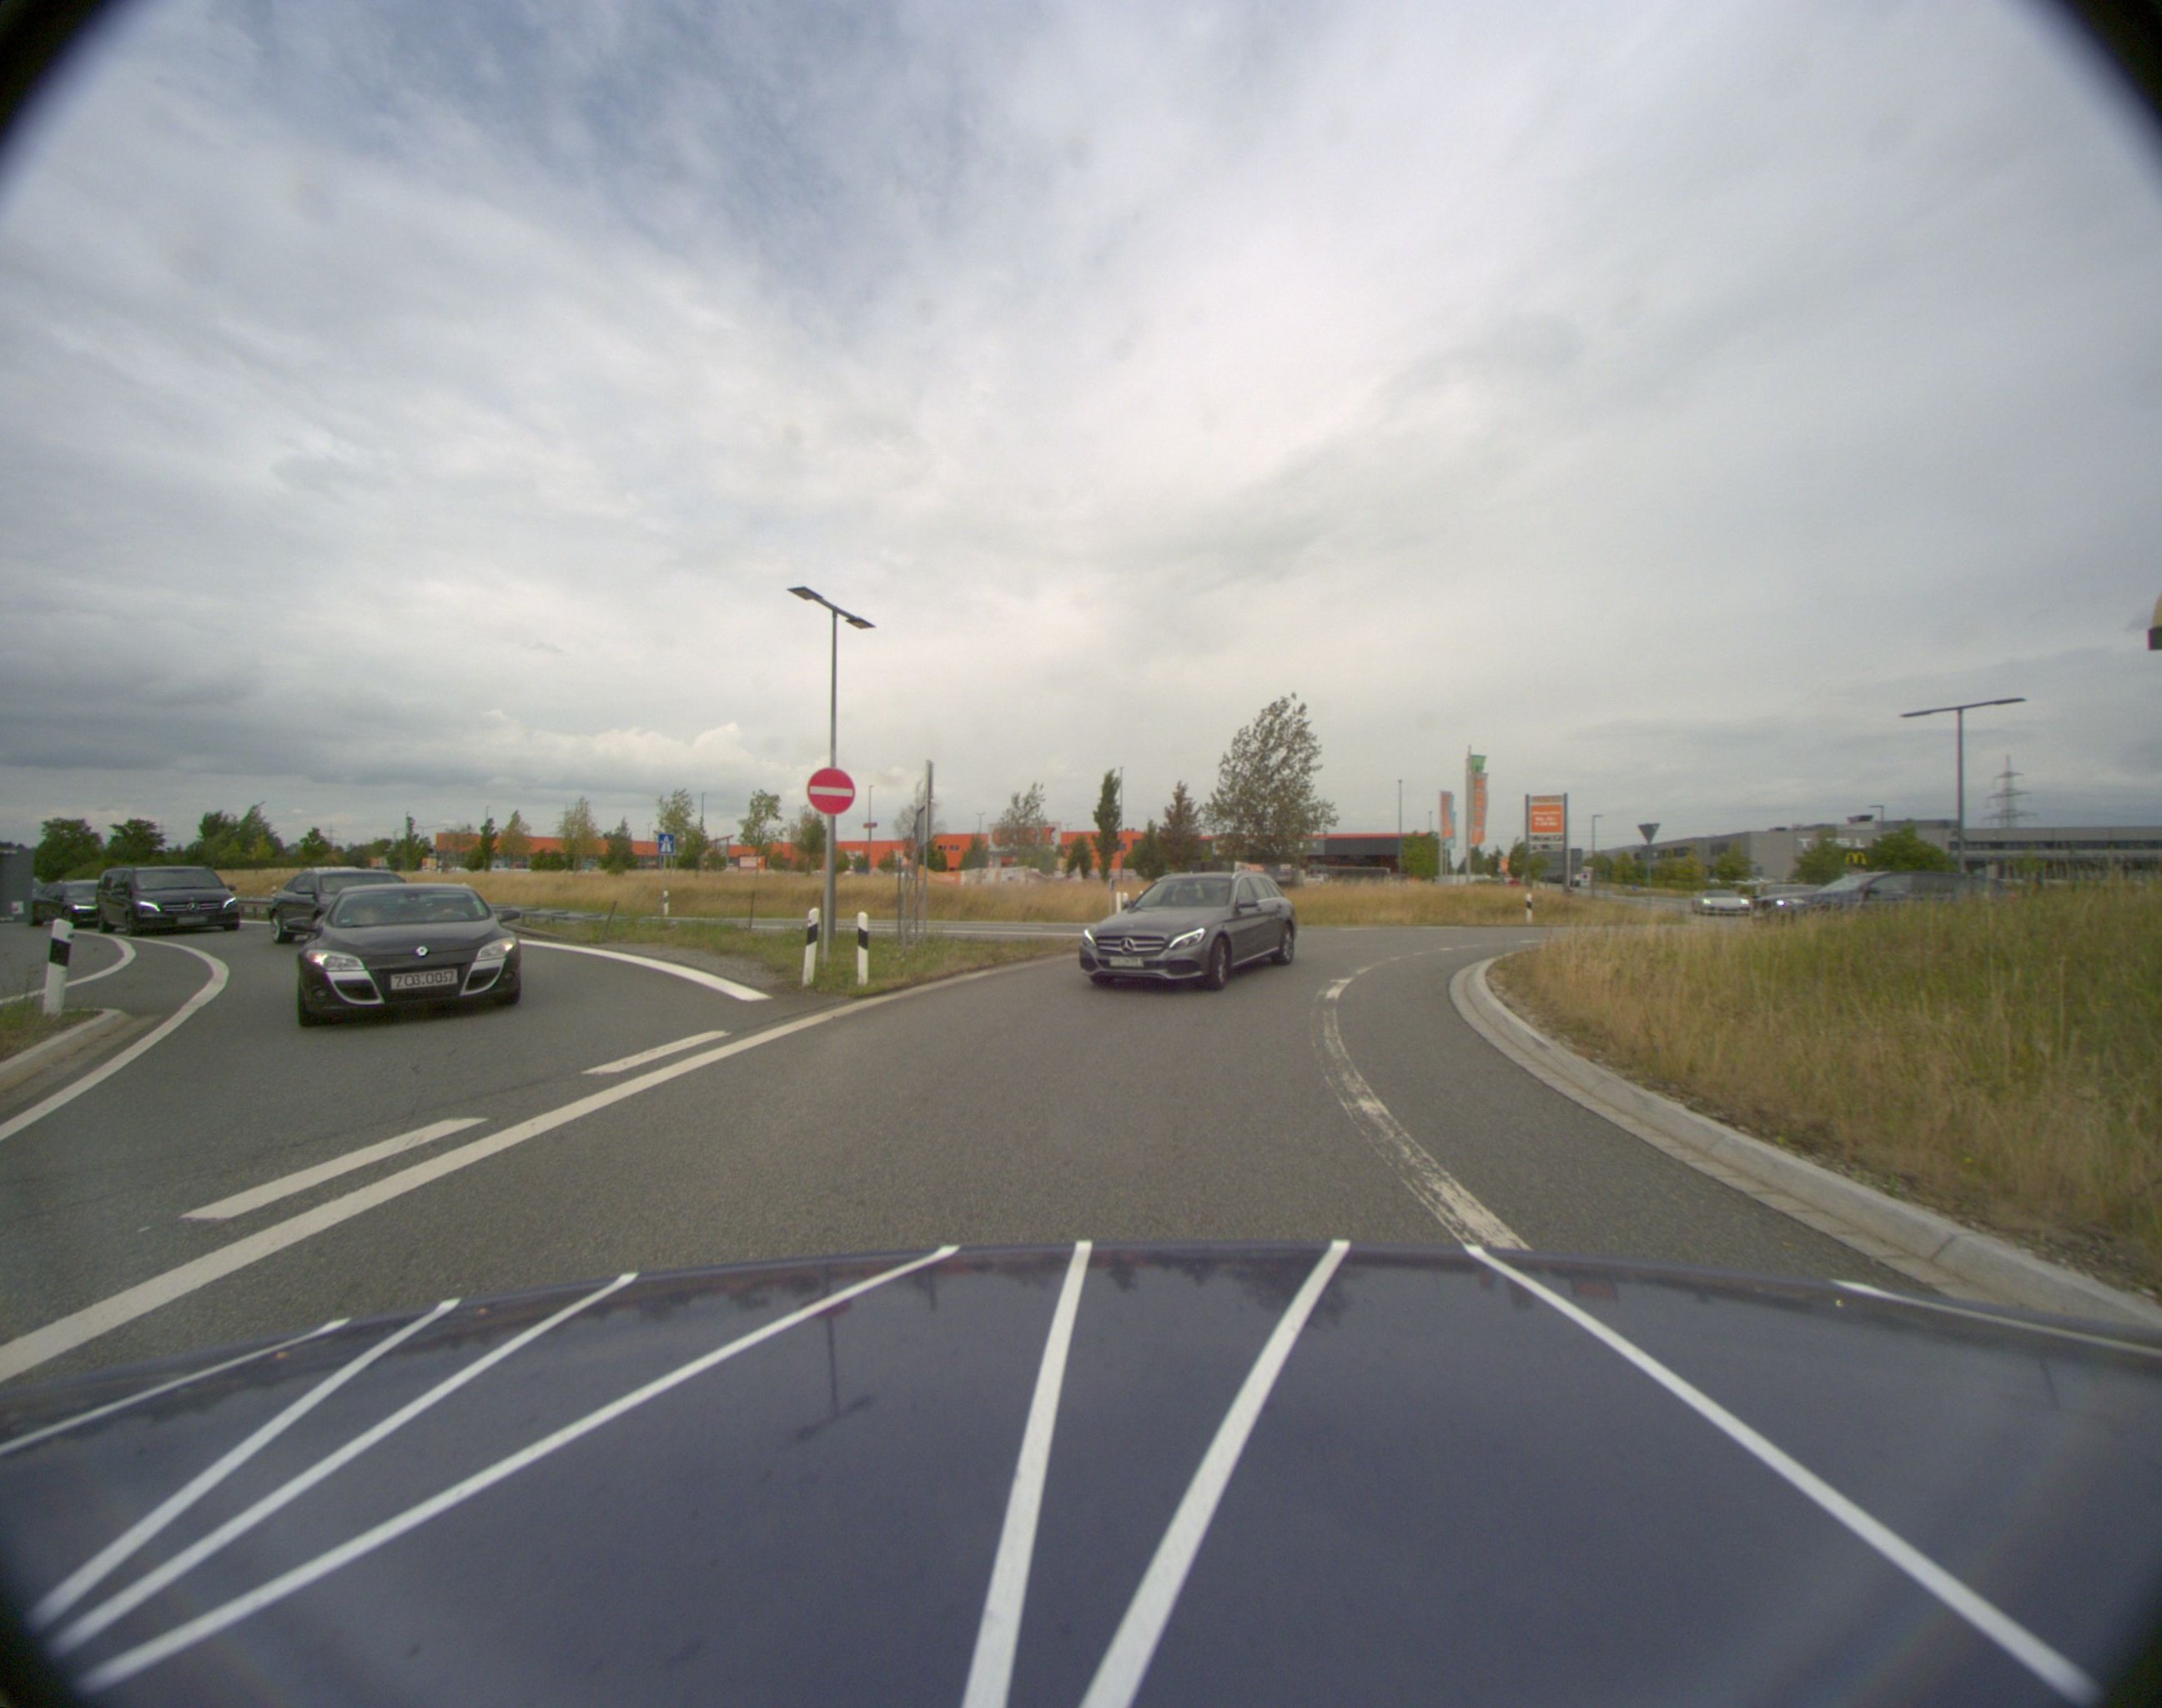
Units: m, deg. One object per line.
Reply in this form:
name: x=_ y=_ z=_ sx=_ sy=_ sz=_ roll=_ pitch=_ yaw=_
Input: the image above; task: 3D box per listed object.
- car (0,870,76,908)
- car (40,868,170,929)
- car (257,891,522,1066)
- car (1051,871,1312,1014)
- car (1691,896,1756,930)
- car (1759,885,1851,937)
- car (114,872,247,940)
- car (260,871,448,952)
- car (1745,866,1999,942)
car: x=-48.392 y=1.589 z=35.066 sx=3.989 sy=1.654 sz=1.766 roll=-1 pitch=0 yaw=28
car: x=-32.180 y=1.414 z=25.040 sx=3.990 sy=1.871 sz=1.810 roll=-1 pitch=0 yaw=26
car: x=-7.853 y=1.186 z=8.770 sx=1.847 sy=1.362 sz=4.133 roll=-1 pitch=0 yaw=-42
car: x=1.633 y=1.037 z=10.719 sx=1.902 sy=1.488 sz=4.348 roll=-2 pitch=-1 yaw=34
car: x=32.246 y=2.921 z=38.251 sx=1.823 sy=1.389 sz=4.744 roll=-1 pitch=-1 yaw=32
car: x=23.410 y=1.760 z=24.573 sx=1.993 sy=1.495 sz=4.317 roll=-2 pitch=-3 yaw=44
car: x=-25.448 y=1.378 z=21.423 sx=4.732 sy=1.711 sz=1.726 roll=-1 pitch=0 yaw=32
car: x=-16.139 y=1.182 z=16.825 sx=4.265 sy=1.573 sz=1.888 roll=-1 pitch=0 yaw=30
car: x=19.386 y=1.267 z=18.920 sx=3.990 sy=1.708 sz=1.848 roll=-4 pitch=-3 yaw=33
